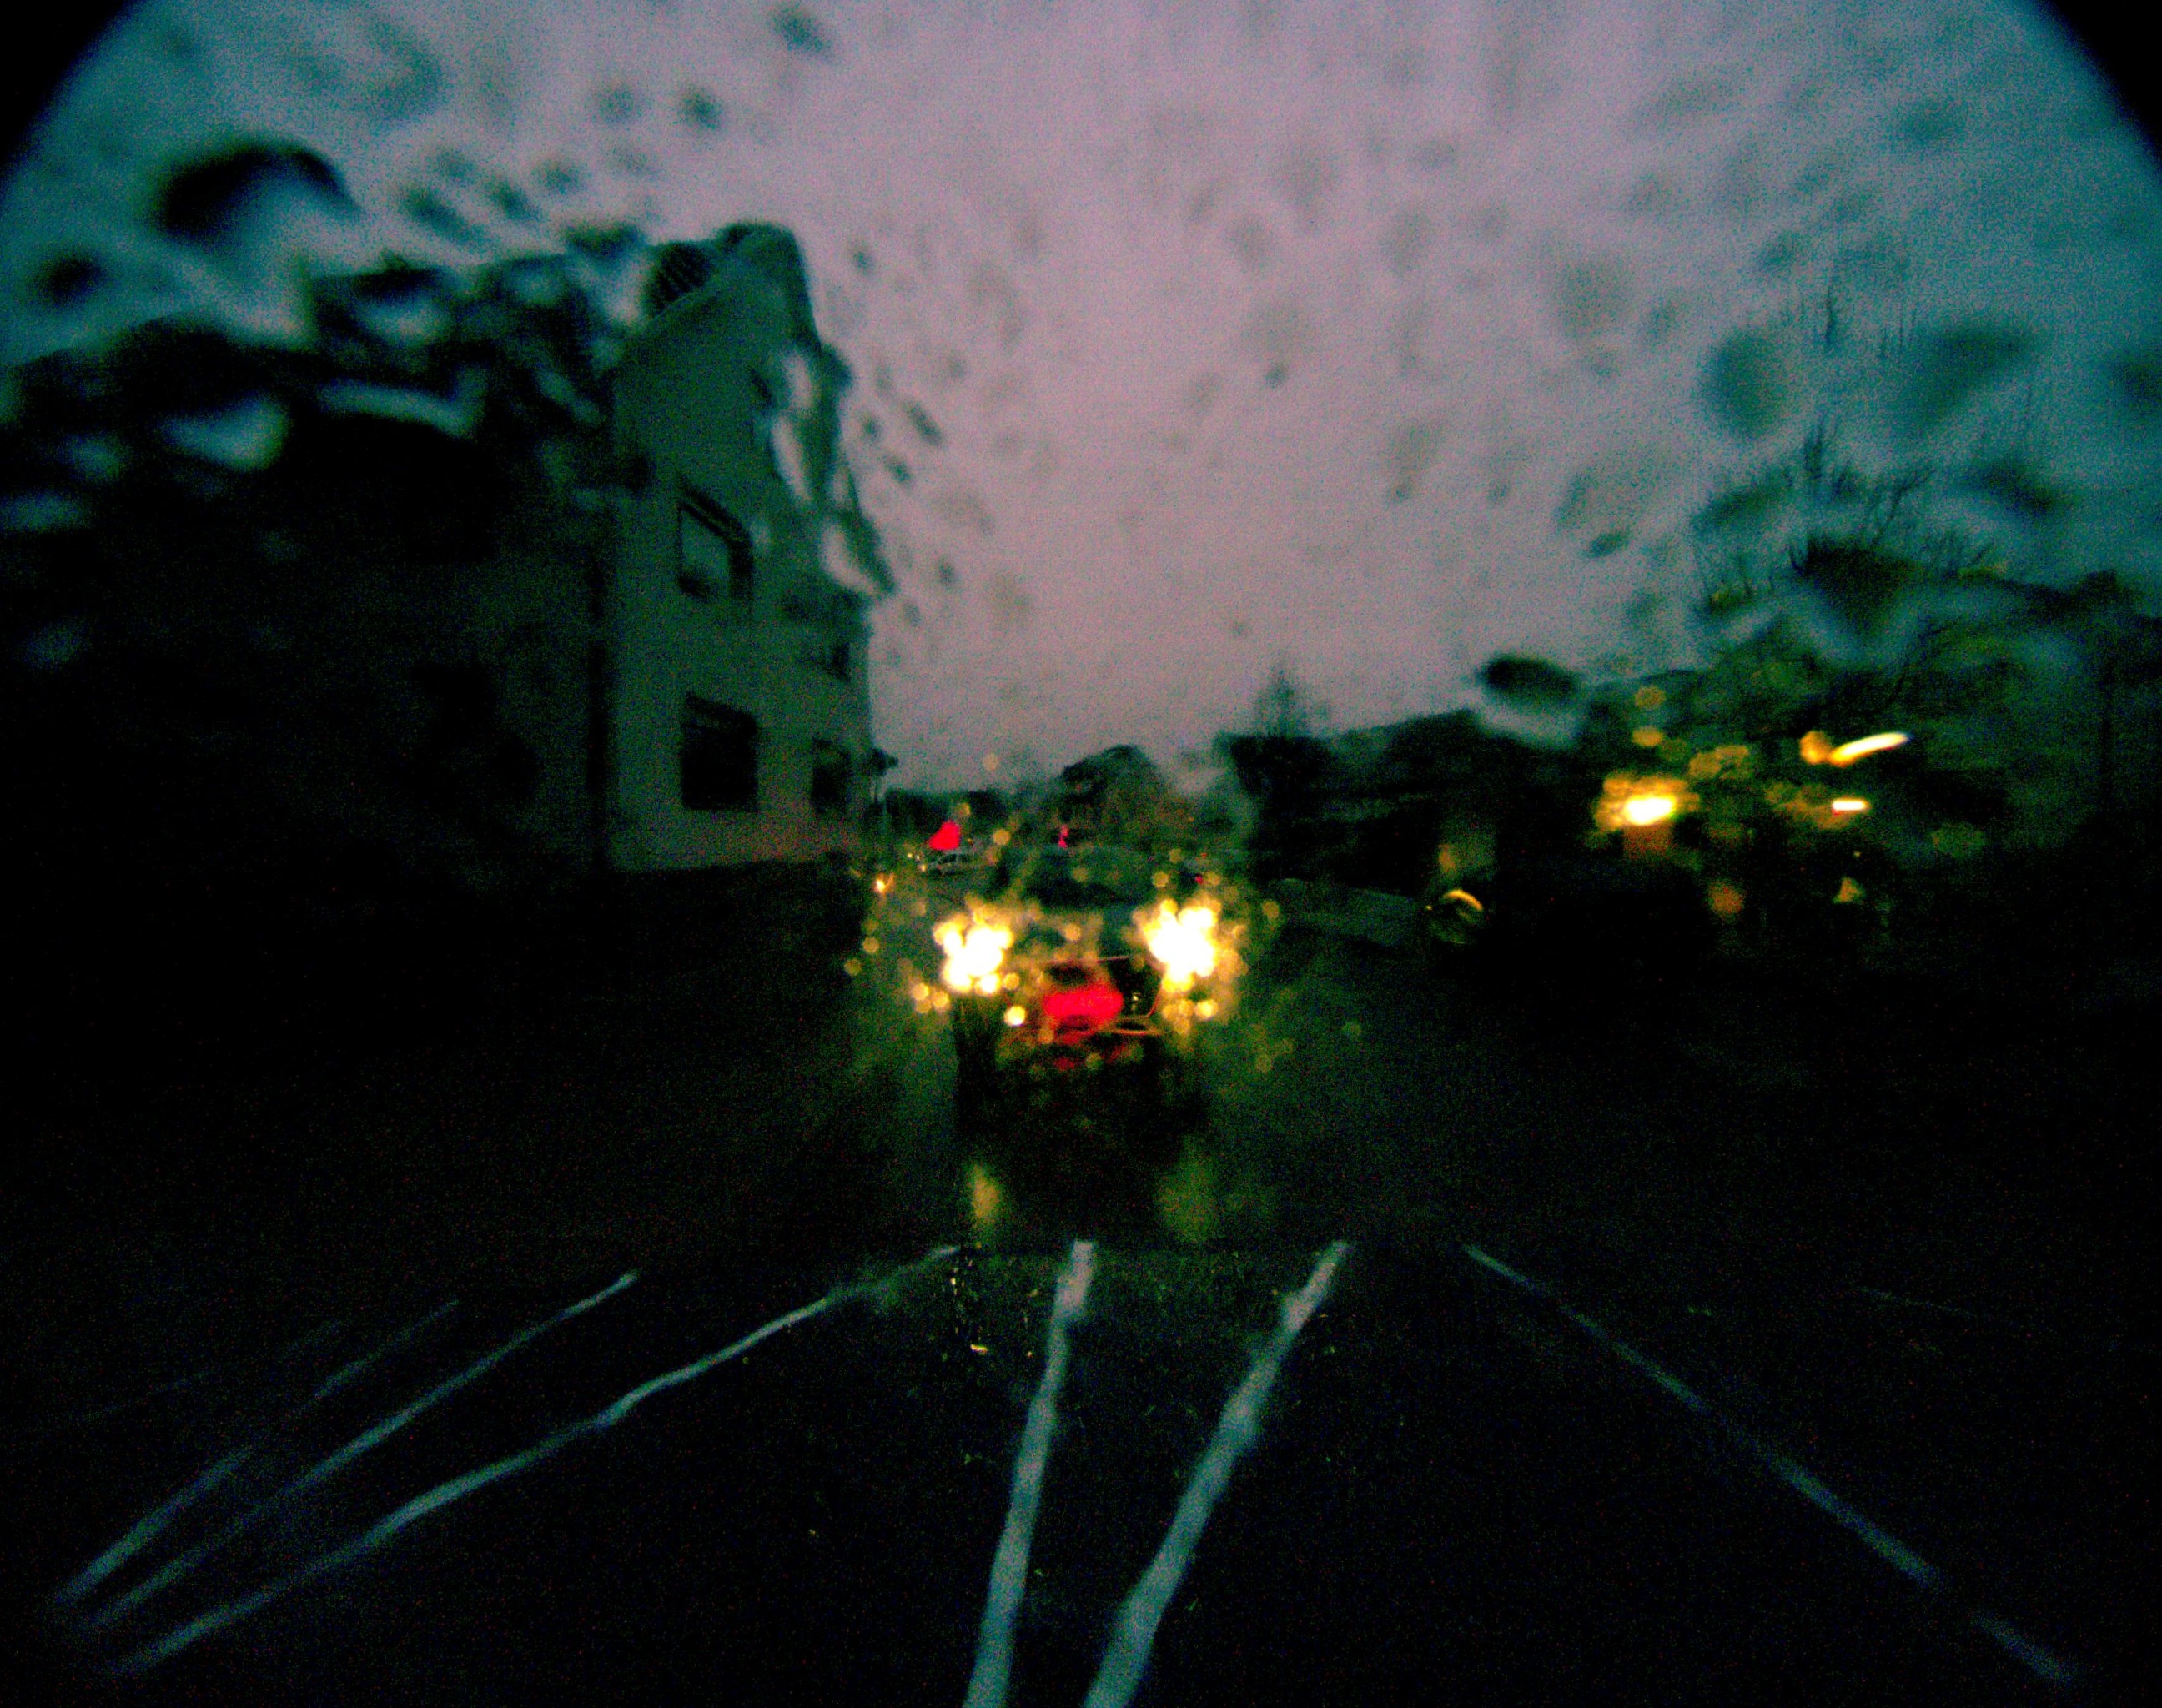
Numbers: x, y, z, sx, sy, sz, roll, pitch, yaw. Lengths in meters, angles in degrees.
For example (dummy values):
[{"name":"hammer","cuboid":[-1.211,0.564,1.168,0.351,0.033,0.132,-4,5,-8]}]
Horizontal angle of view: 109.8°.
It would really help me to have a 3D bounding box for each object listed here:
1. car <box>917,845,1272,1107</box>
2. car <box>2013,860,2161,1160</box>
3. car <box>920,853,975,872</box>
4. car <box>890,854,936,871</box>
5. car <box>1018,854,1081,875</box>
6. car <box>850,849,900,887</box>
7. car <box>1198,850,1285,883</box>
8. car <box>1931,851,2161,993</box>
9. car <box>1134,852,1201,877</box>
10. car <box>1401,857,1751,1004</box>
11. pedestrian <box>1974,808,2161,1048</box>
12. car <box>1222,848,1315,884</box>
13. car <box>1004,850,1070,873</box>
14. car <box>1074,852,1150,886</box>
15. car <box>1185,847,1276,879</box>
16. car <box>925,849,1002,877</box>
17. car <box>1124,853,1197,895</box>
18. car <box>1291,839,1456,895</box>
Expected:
[{"name":"car","cuboid":[-0.021,0.765,7.440,2.270,1.633,5.064,-1,0,-3]},{"name":"car","cuboid":[6.453,0.801,2.652,1.697,1.507,3.772,-2,0,-2]},{"name":"car","cuboid":[-12.817,0.801,73.026,4.888,1.674,1.996,-1,-1,-28]},{"name":"car","cuboid":[-17.990,0.899,81.213,4.435,1.790,1.840,-1,0,-30]},{"name":"car","cuboid":[-2.581,0.902,62.140,4.775,1.625,1.997,1,-1,-21]},{"name":"car","cuboid":[-11.429,0.765,41.956,1.982,1.948,4.842,-1,0,-23]},{"name":"car","cuboid":[7.872,0.579,37.639,4.107,1.573,1.722,0,1,9]},{"name":"car","cuboid":[12.491,0.710,8.186,4.078,1.468,1.742,0,0,23]},{"name":"car","cuboid":[5.338,0.640,47.151,4.069,1.451,1.758,-1,1,4]},{"name":"car","cuboid":[6.205,0.818,10.300,1.751,1.464,4.457,-2,0,-1]},{"name":"pedestrian","cuboid":[8.509,0.566,6.388,0.755,1.856,1.060,-1,1,1]},{"name":"car","cuboid":[8.533,0.550,34.800,3.993,1.521,2.002,-1,0,13]},{"name":"car","cuboid":[-3.319,0.566,57.327,4.456,1.623,2.150,-1,1,-29]},{"name":"car","cuboid":[1.455,0.728,37.280,1.913,1.524,4.247,-2,0,-26]},{"name":"car","cuboid":[7.884,0.479,40.441,4.649,1.644,1.989,0,1,9]},{"name":"car","cuboid":[-9.232,0.682,59.534,5.780,1.934,1.989,-2,0,-11]},{"name":"car","cuboid":[3.176,0.766,30.977,1.840,1.527,3.671,-2,1,-13]},{"name":"car","cuboid":[10.404,0.436,27.467,5.387,1.874,2.076,0,0,16]}]
